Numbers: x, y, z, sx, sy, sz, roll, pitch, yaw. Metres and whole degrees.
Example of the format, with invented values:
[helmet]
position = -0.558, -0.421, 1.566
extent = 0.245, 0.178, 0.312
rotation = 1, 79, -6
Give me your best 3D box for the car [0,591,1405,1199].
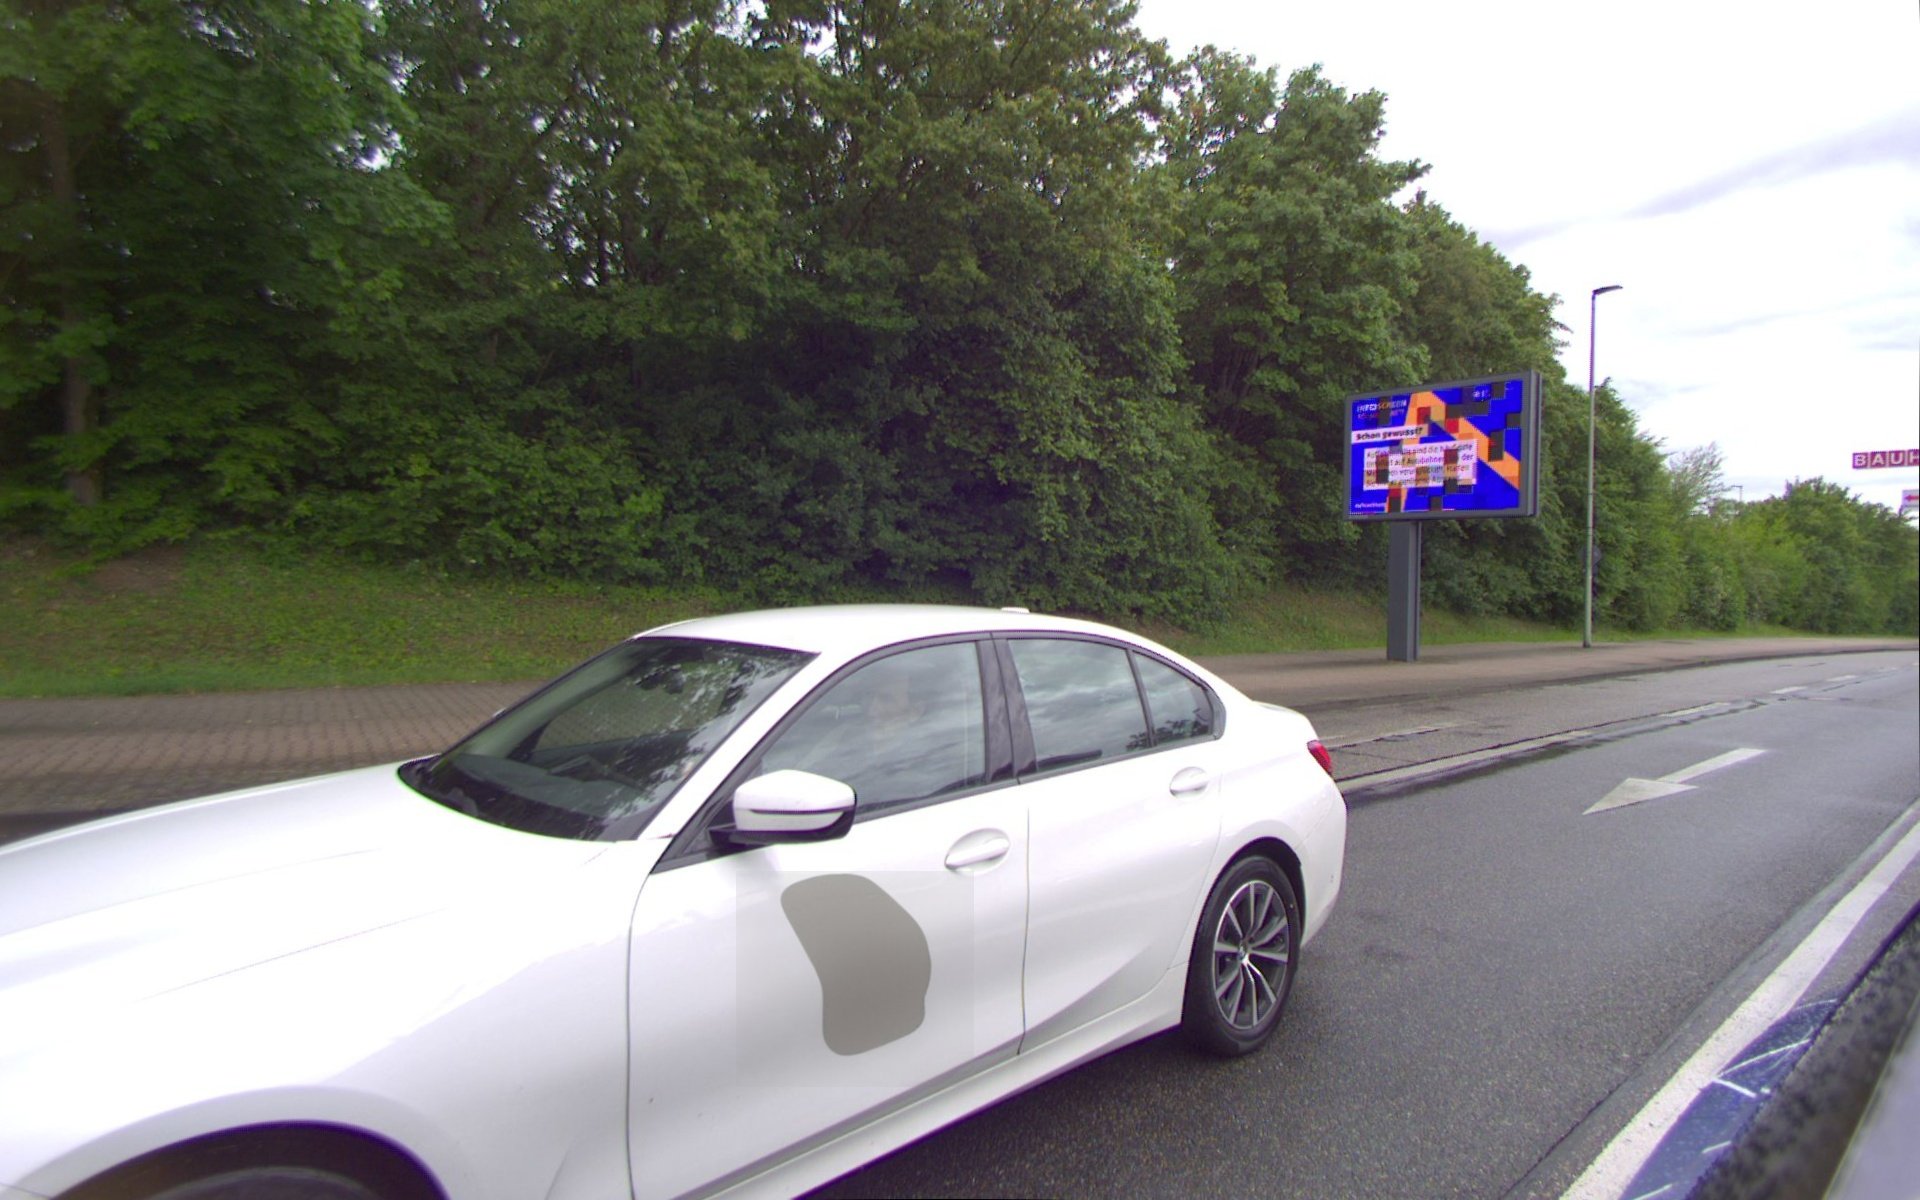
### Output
[car]
position = -0.524, 0.721, 3.112
extent = 4.600, 1.475, 1.782
rotation = -1, 1, -42
